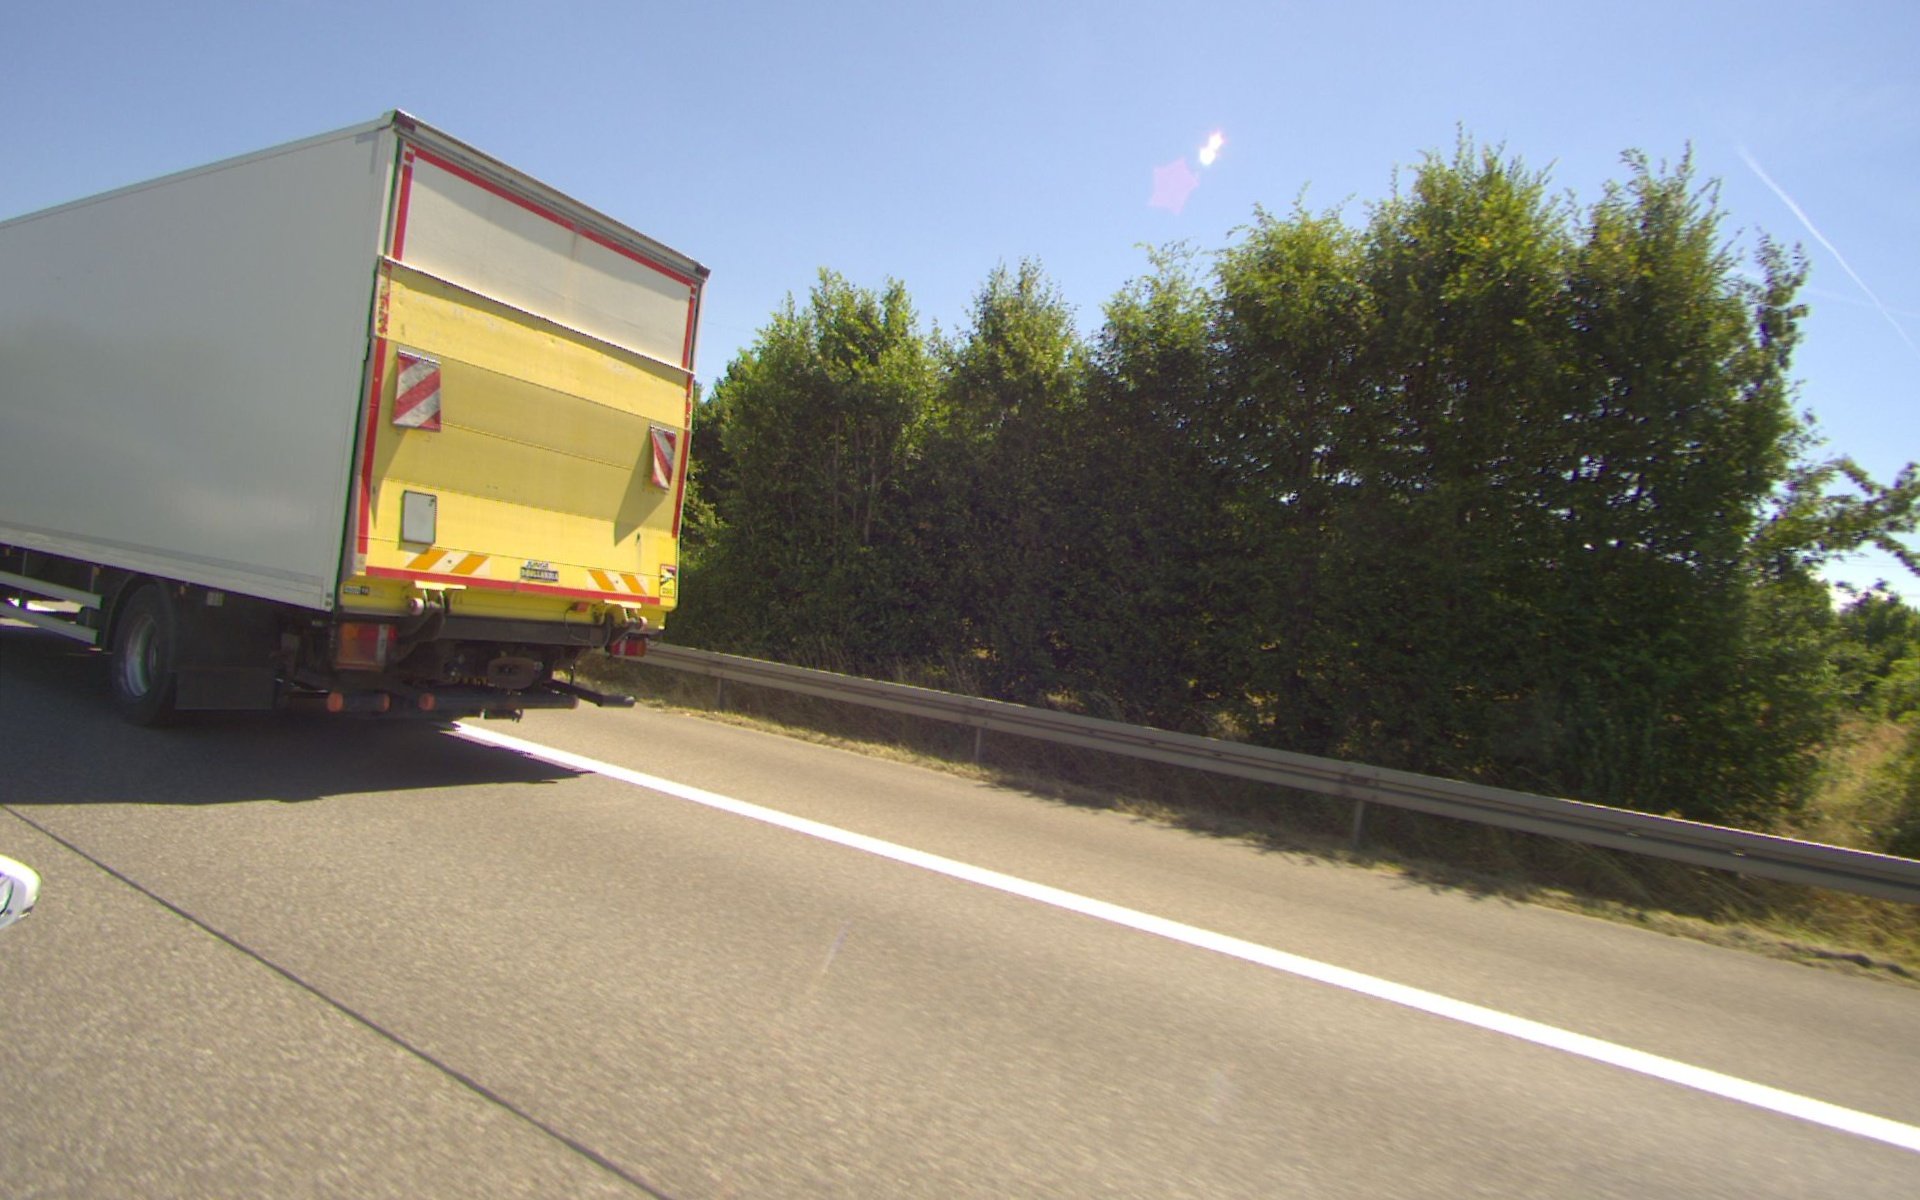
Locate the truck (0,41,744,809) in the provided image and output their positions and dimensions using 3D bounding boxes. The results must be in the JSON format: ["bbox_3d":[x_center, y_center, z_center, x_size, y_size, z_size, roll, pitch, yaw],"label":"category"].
[{"bbox_3d":[-7.191,-1.329,9.509,10.503,4.248,2.939,7,-2,31],"label":"truck"}]
